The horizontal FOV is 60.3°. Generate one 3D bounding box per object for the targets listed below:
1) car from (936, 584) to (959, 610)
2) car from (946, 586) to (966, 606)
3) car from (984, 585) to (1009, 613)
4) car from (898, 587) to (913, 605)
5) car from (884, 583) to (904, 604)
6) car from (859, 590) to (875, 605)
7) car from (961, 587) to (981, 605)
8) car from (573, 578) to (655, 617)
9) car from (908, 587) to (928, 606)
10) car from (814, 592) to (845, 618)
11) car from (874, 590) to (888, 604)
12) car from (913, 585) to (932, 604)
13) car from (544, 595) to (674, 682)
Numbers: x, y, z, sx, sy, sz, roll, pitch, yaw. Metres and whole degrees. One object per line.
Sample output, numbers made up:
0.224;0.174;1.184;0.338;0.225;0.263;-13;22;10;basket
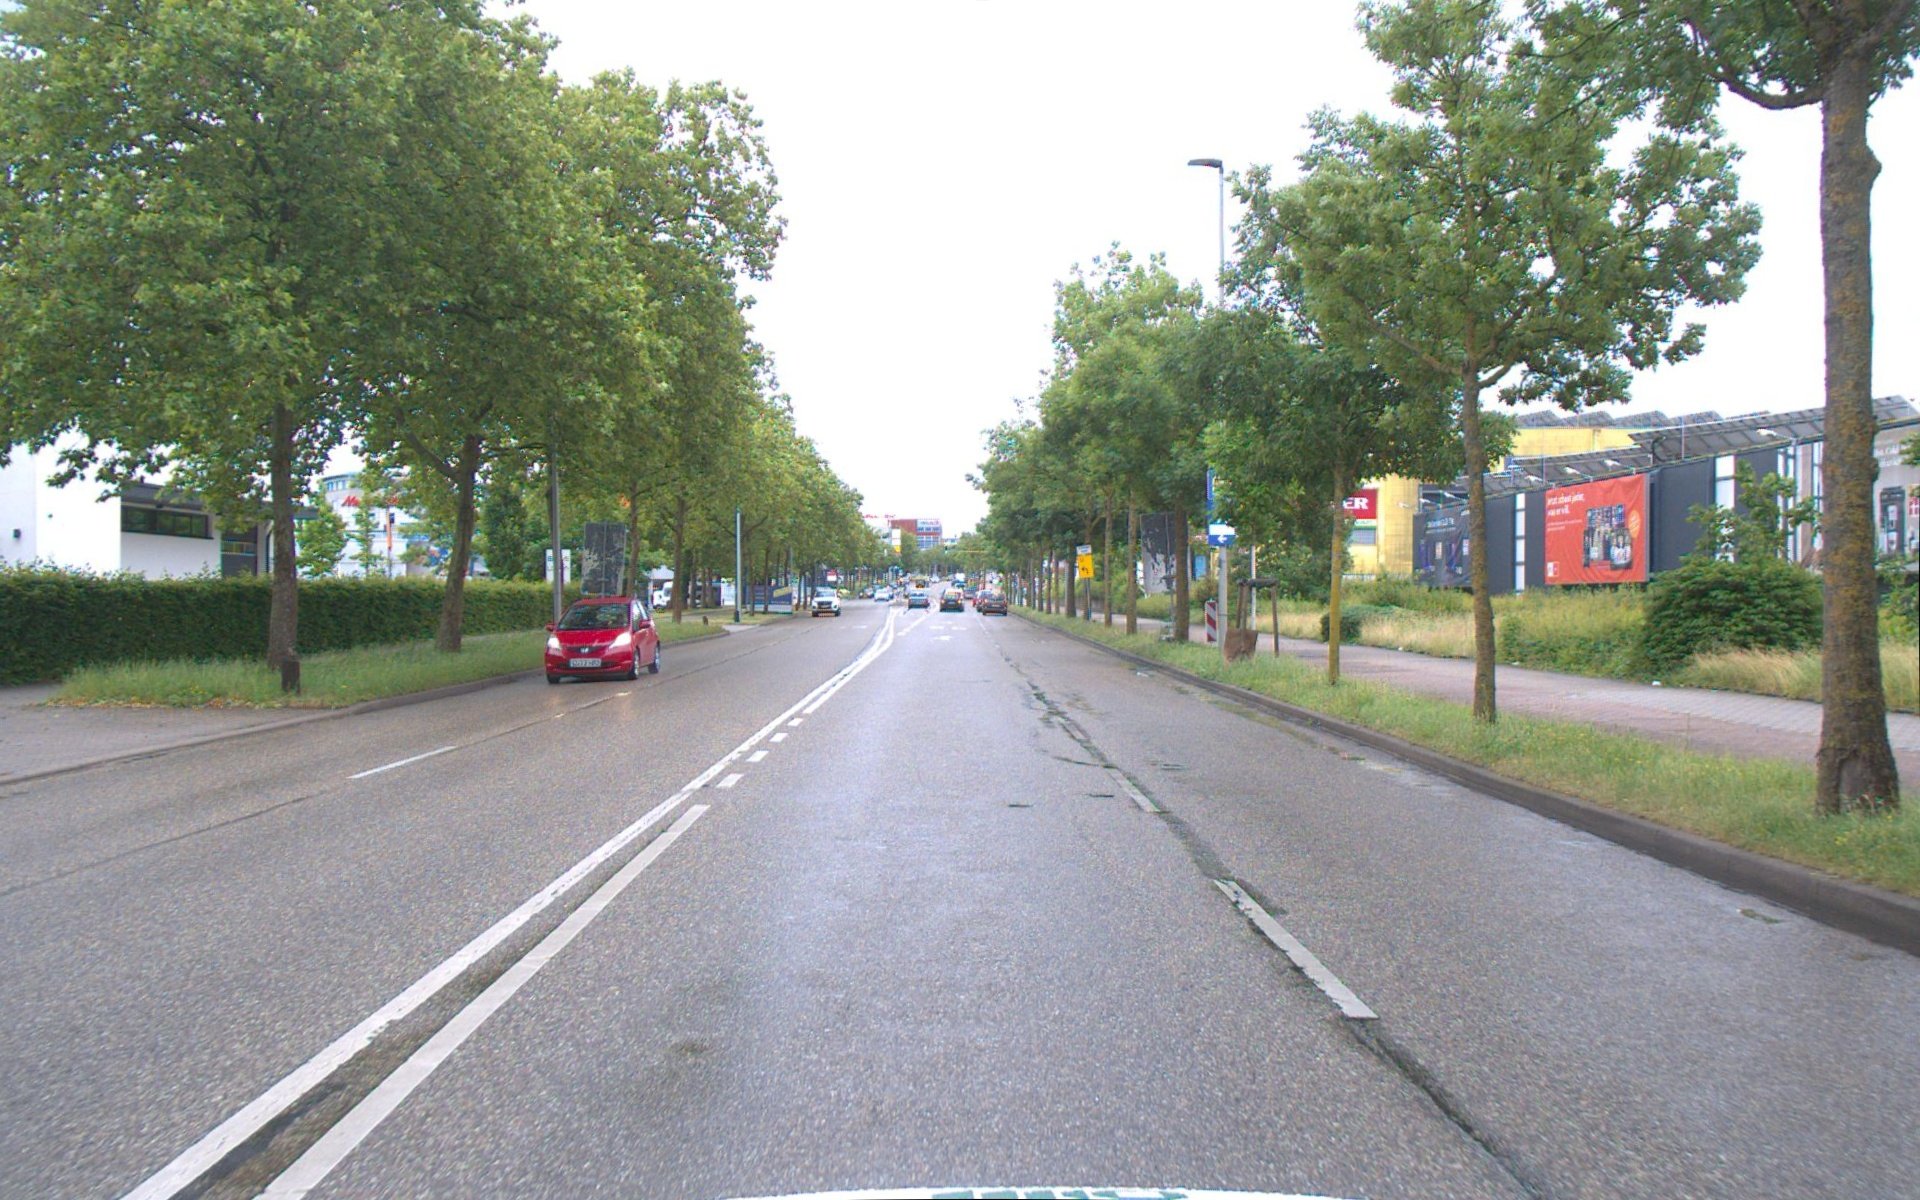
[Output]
-1.020;-0.253;135.174;1.709;2.049;4.000;-1;0;1;car
-0.327;-0.391;148.539;1.709;1.767;4.000;-1;0;1;car
2.660;-0.087;121.338;1.709;2.049;4.000;-1;0;1;car
-6.605;-0.501;199.549;1.790;2.049;3.998;-1;0;-3;car
-6.839;-0.691;170.745;1.953;2.049;3.999;-1;0;-1;car
-13.301;-0.411;236.695;2.171;2.049;3.998;-1;0;-3;car
1.188;-0.418;174.003;1.953;1.825;3.999;-1;0;-1;car
-18.271;-0.144;87.326;3.905;1.958;1.826;-1;0;0;car
-3.991;-0.320;157.797;1.709;1.730;4.000;-1;0;1;car
-8.949;0.331;113.480;1.669;1.767;4.001;-1;0;2;car
-10.029;-0.342;209.698;1.790;1.758;3.998;-1;0;-3;car
-3.897;-0.547;172.437;1.852;1.909;4.123;-1;0;-1;car
-6.698;0.686;31.929;1.691;1.544;3.821;-1;0;-1;car
